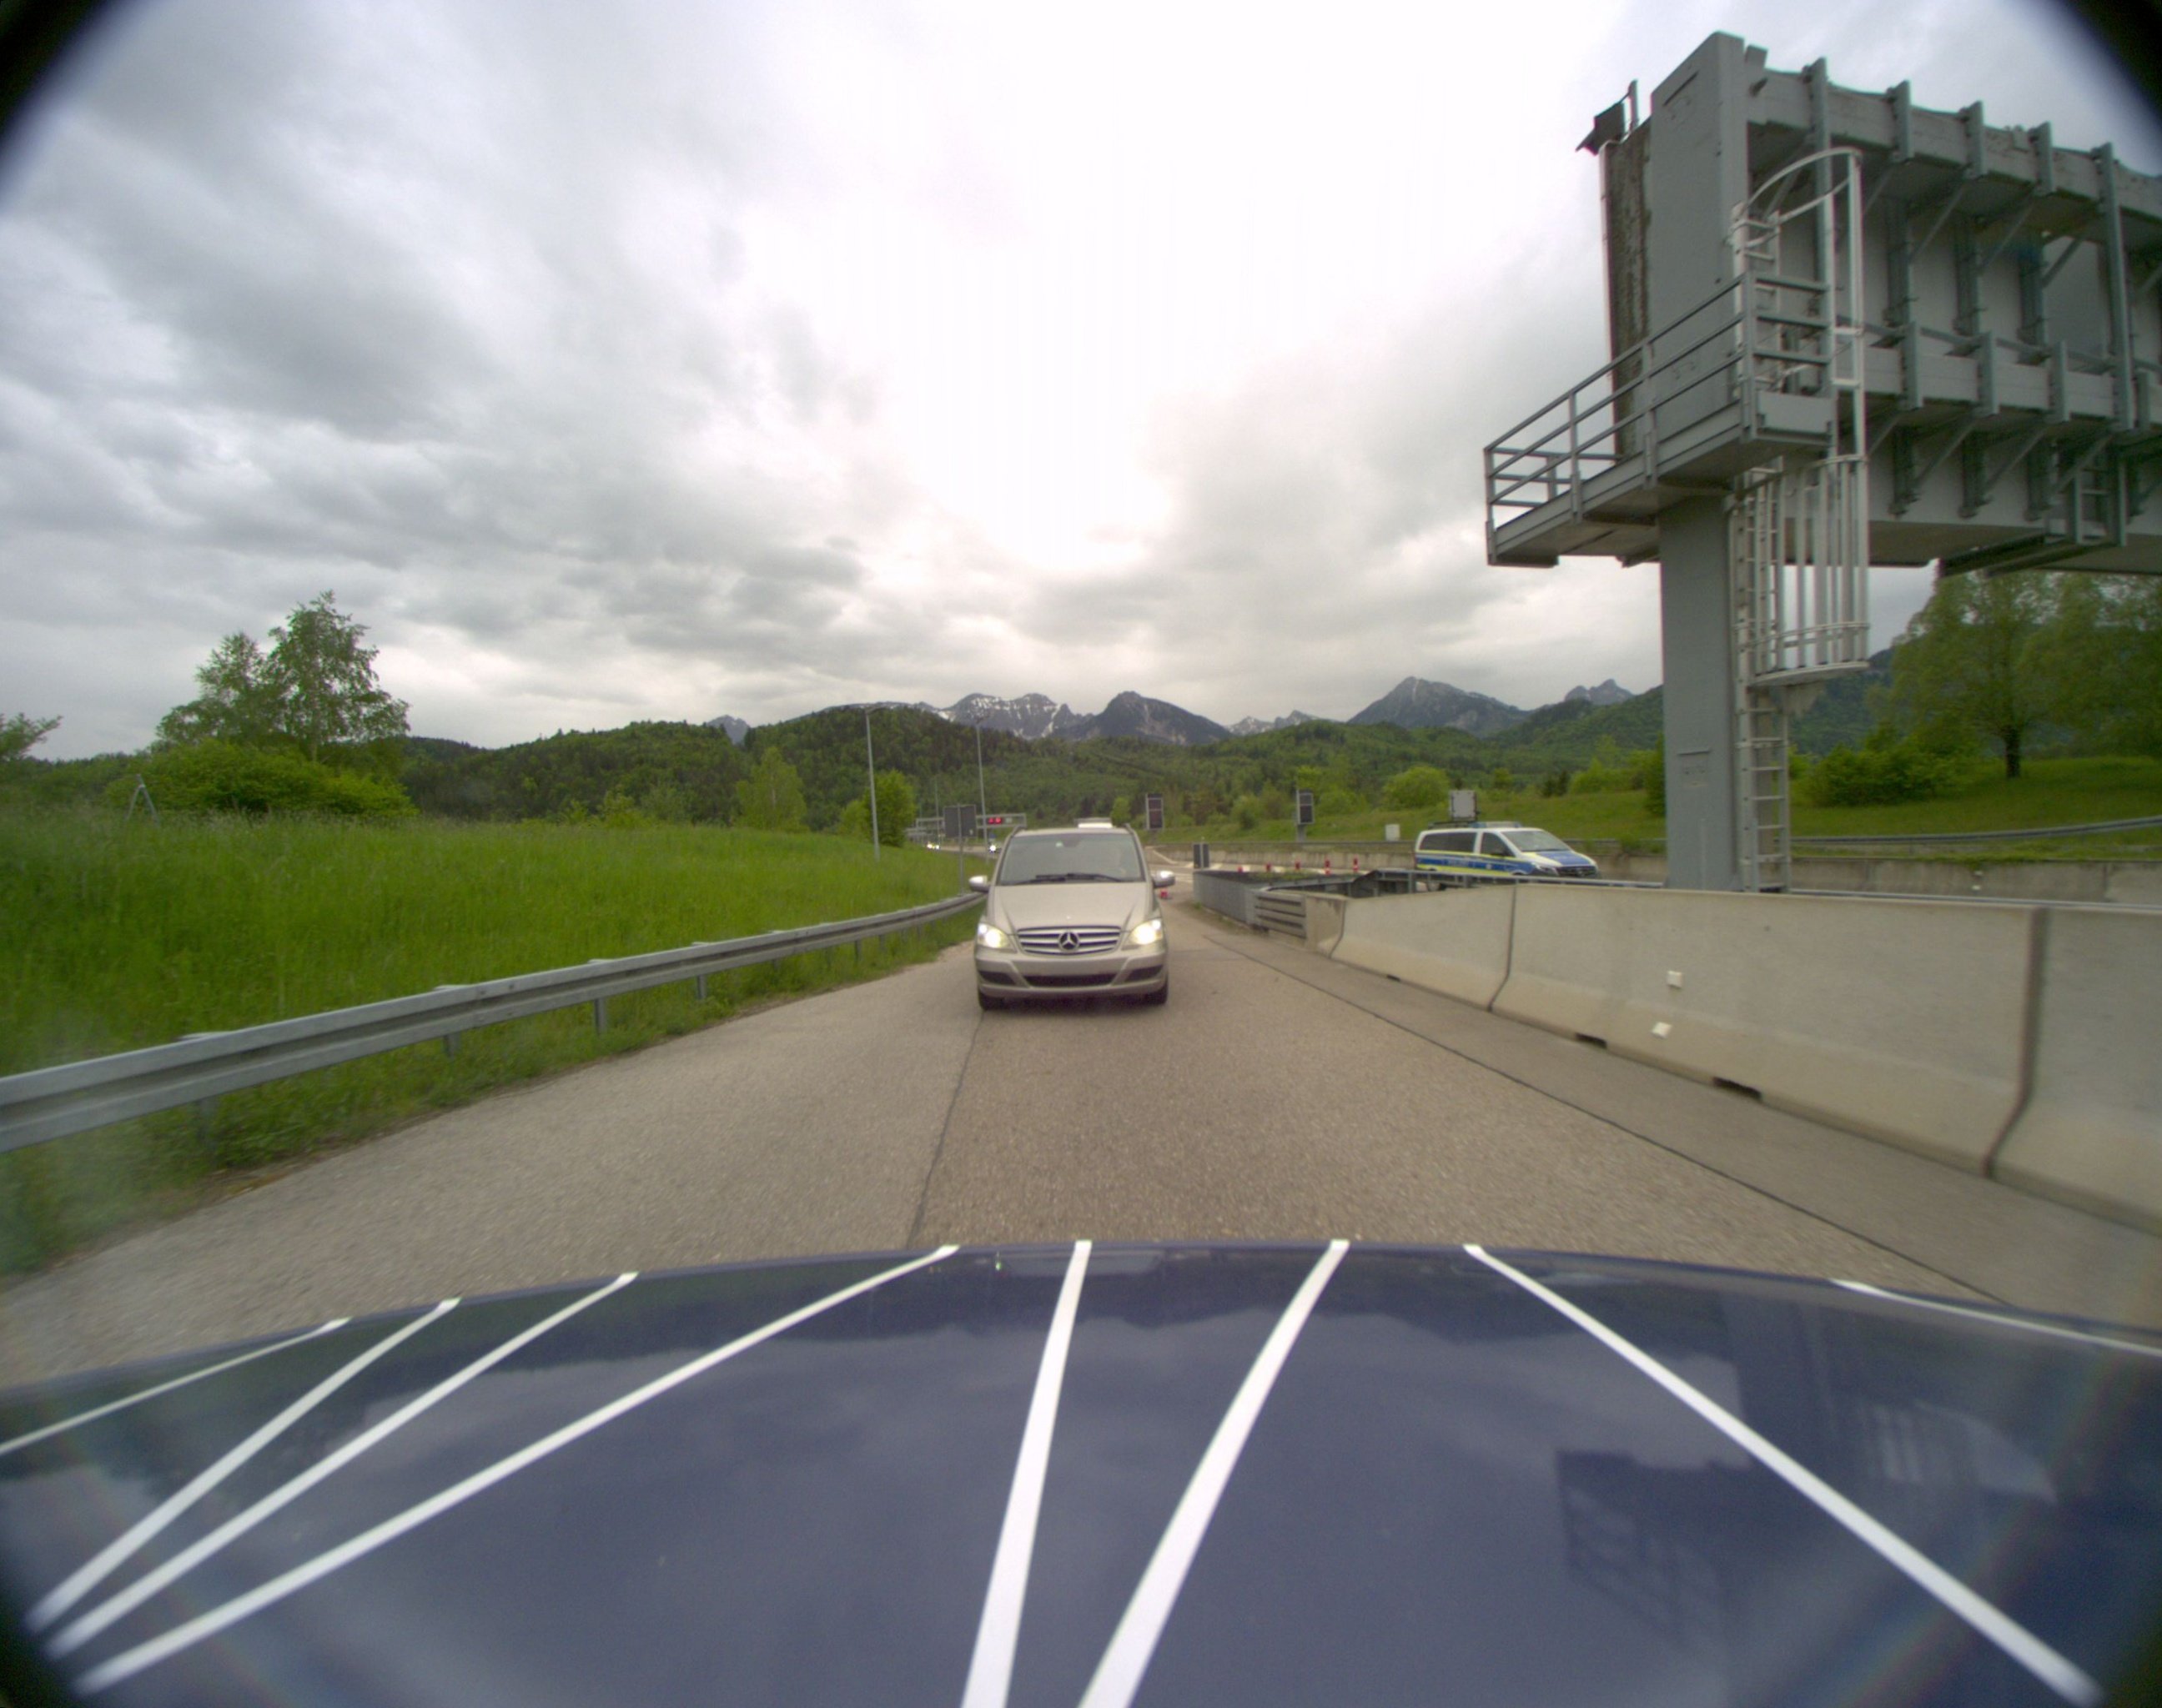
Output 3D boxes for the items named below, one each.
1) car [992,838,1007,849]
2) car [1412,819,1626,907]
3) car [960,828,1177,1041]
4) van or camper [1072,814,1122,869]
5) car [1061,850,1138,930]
[{"bbox_3d":[-12.530,-1.655,116.395,1.722,1.629,4.343,-1,1,-12],"label":"car"},{"bbox_3d":[11.377,0.170,20.276,2.106,2.002,5.045,-2,1,-13],"label":"car"},{"bbox_3d":[-0.070,0.653,9.445,1.862,1.834,5.616,-1,1,1],"label":"car"},{"bbox_3d":[0.952,-0.864,50.874,2.583,3.372,7.351,-2,1,-4],"label":"van or camper"},{"bbox_3d":[0.445,0.748,18.069,1.591,1.662,4.000,-1,0,1],"label":"car"}]
